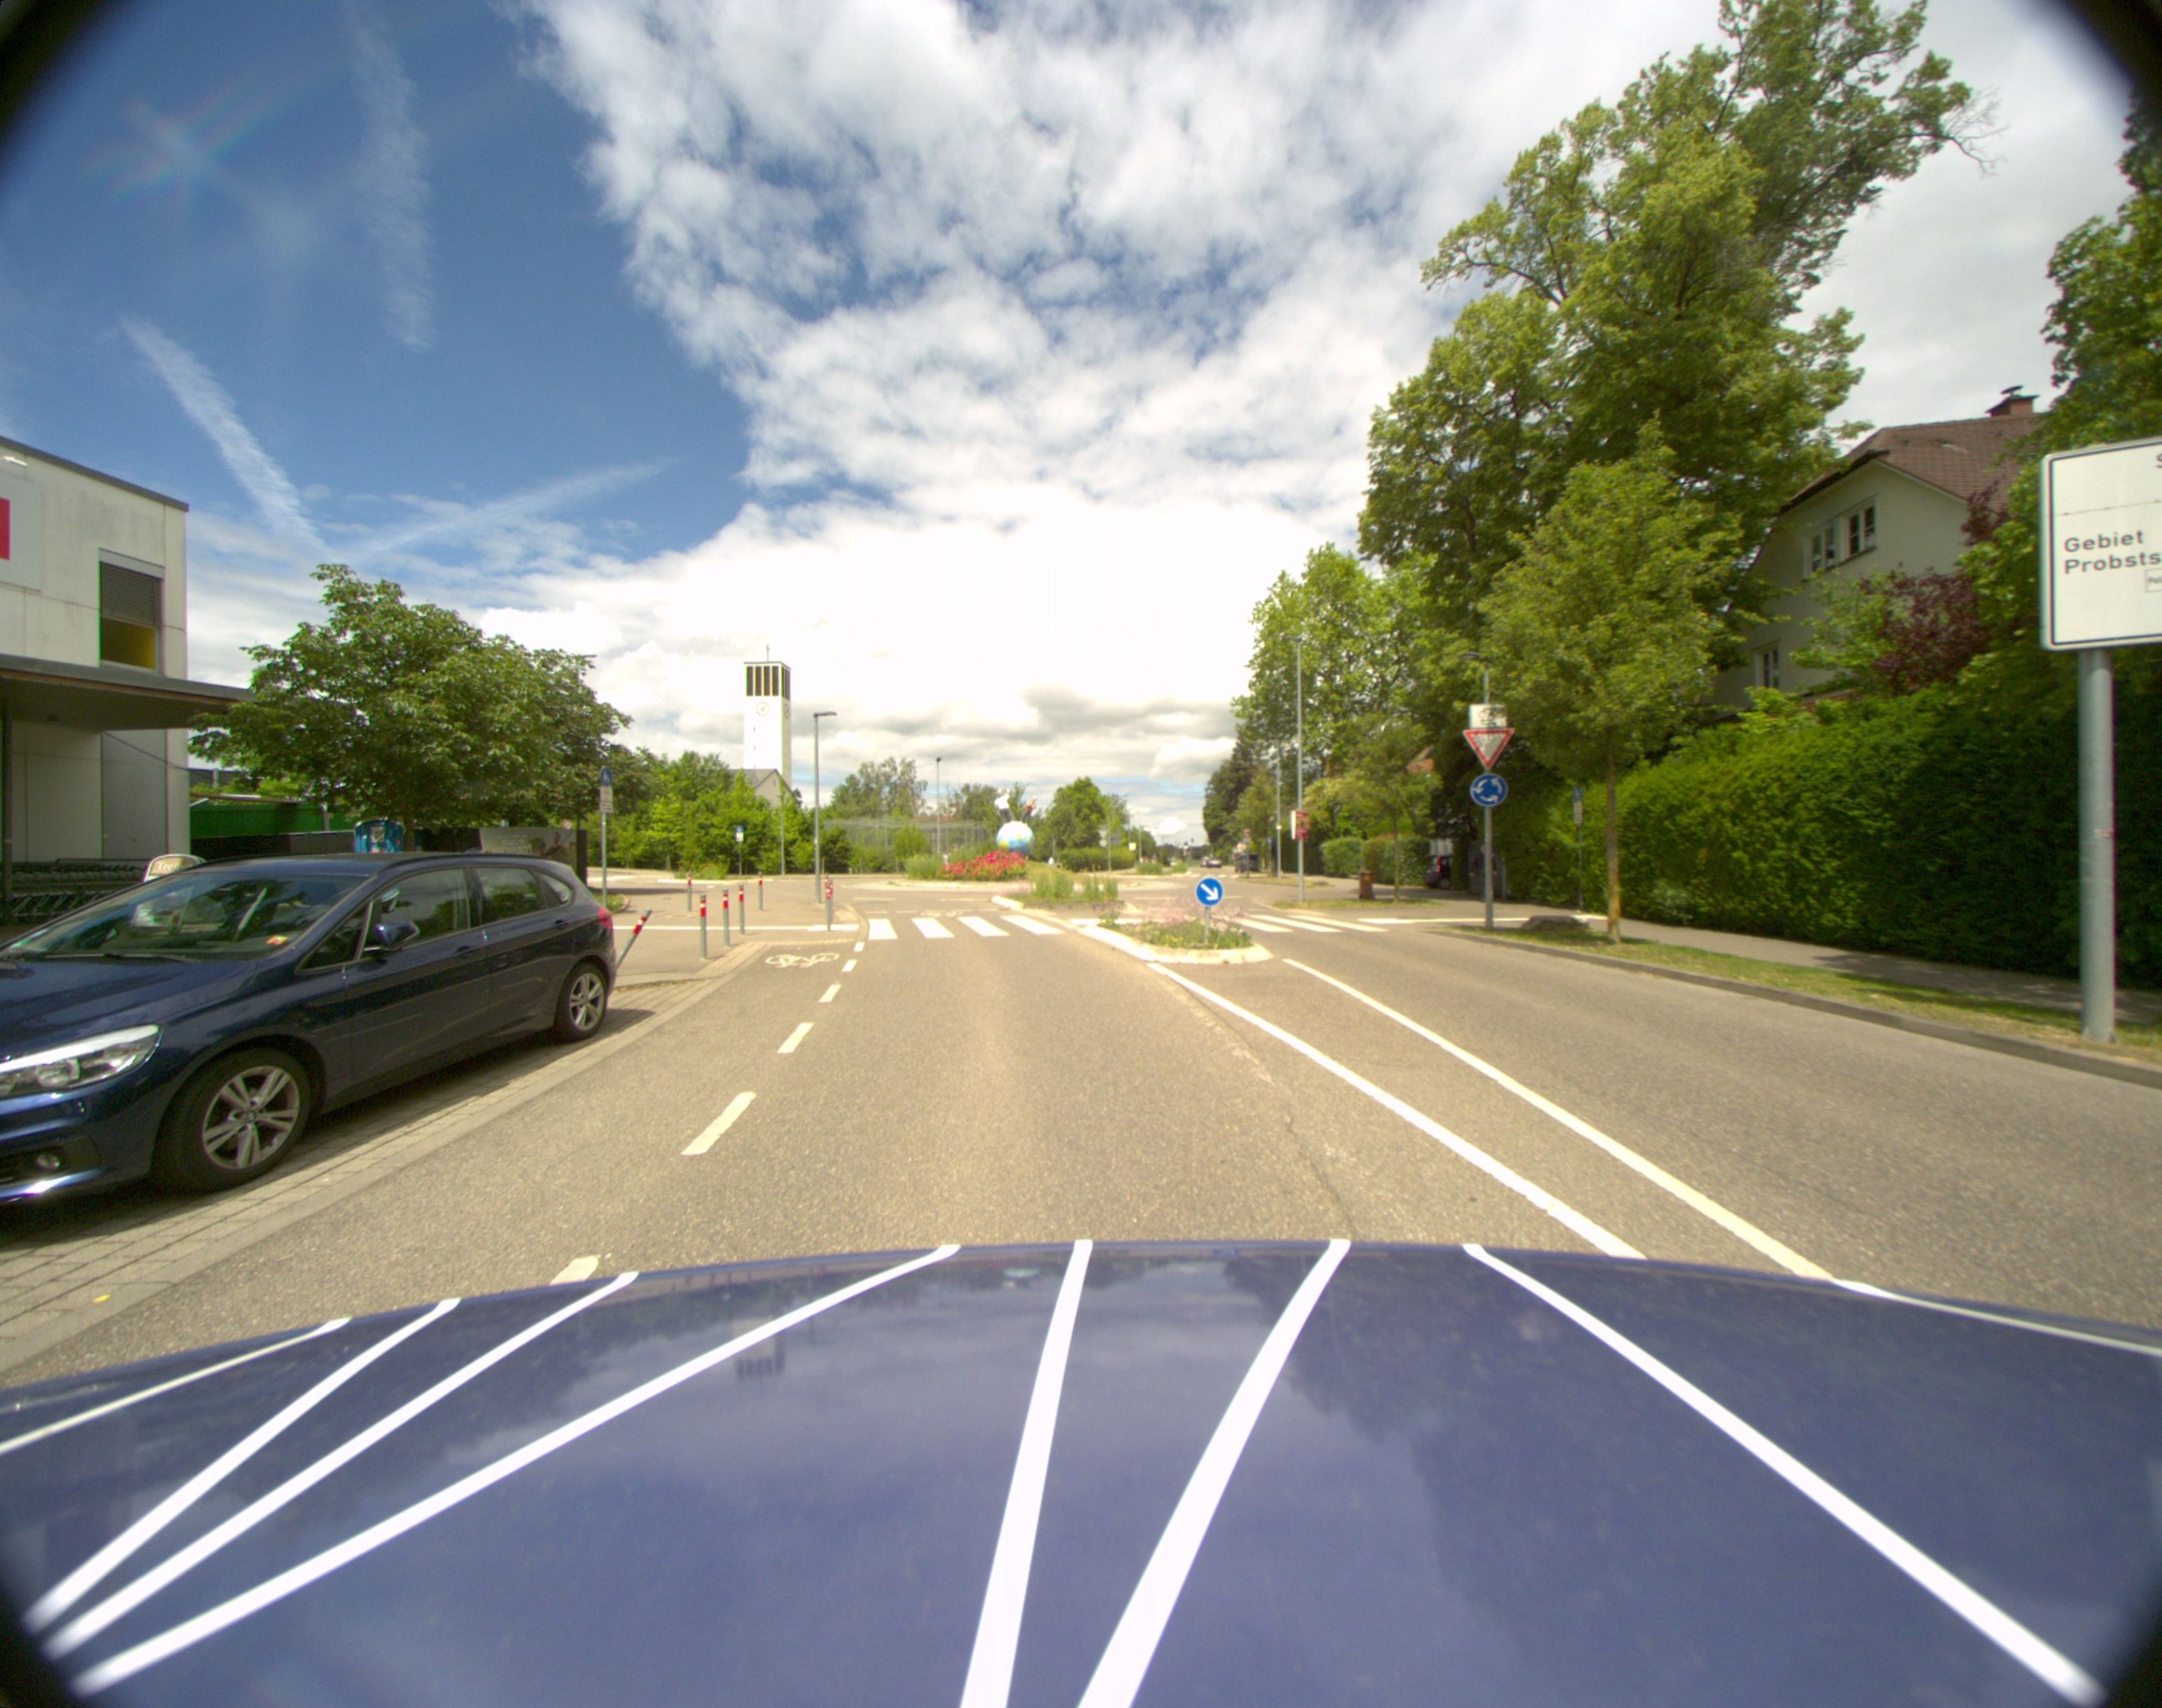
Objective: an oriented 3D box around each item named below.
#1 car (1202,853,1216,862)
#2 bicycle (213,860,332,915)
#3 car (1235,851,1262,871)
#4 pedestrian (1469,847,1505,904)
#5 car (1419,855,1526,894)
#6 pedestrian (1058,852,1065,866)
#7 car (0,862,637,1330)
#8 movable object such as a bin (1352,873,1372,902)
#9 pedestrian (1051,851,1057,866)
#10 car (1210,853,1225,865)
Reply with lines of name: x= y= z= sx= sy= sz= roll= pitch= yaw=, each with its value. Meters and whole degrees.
car: x=22.822 y=0.611 z=136.011 sx=1.998 sy=1.696 sz=4.000 roll=1 pitch=0 yaw=3
bicycle: x=-19.269 y=0.777 z=18.157 sx=1.775 sy=1.227 sz=0.713 roll=-2 pitch=1 yaw=-26
car: x=14.554 y=0.557 z=66.247 sx=1.680 sy=1.652 sz=4.000 roll=0 pitch=1 yaw=3
pedestrian: x=12.320 y=0.639 z=23.075 sx=0.745 sy=1.682 sz=0.695 roll=-1 pitch=1 yaw=9
car: x=16.234 y=0.820 z=31.648 sx=3.573 sy=1.389 sz=1.666 roll=2 pitch=1 yaw=8
pedestrian: x=-2.216 y=0.595 z=86.371 sx=0.765 sy=1.548 sz=0.601 roll=0 pitch=1 yaw=-11
car: x=-4.988 y=0.900 z=4.844 sx=1.922 sy=1.569 sz=4.428 roll=1 pitch=1 yaw=-3
movable object such as a bin: x=9.207 y=1.079 z=24.905 sx=0.442 sy=0.929 sz=0.411 roll=0 pitch=1 yaw=-21
pedestrian: x=-3.013 y=0.474 z=86.230 sx=0.608 sy=1.687 sz=0.566 roll=-1 pitch=1 yaw=-9
car: x=18.809 y=0.628 z=105.134 sx=1.861 sy=1.568 sz=4.002 roll=-1 pitch=1 yaw=8
